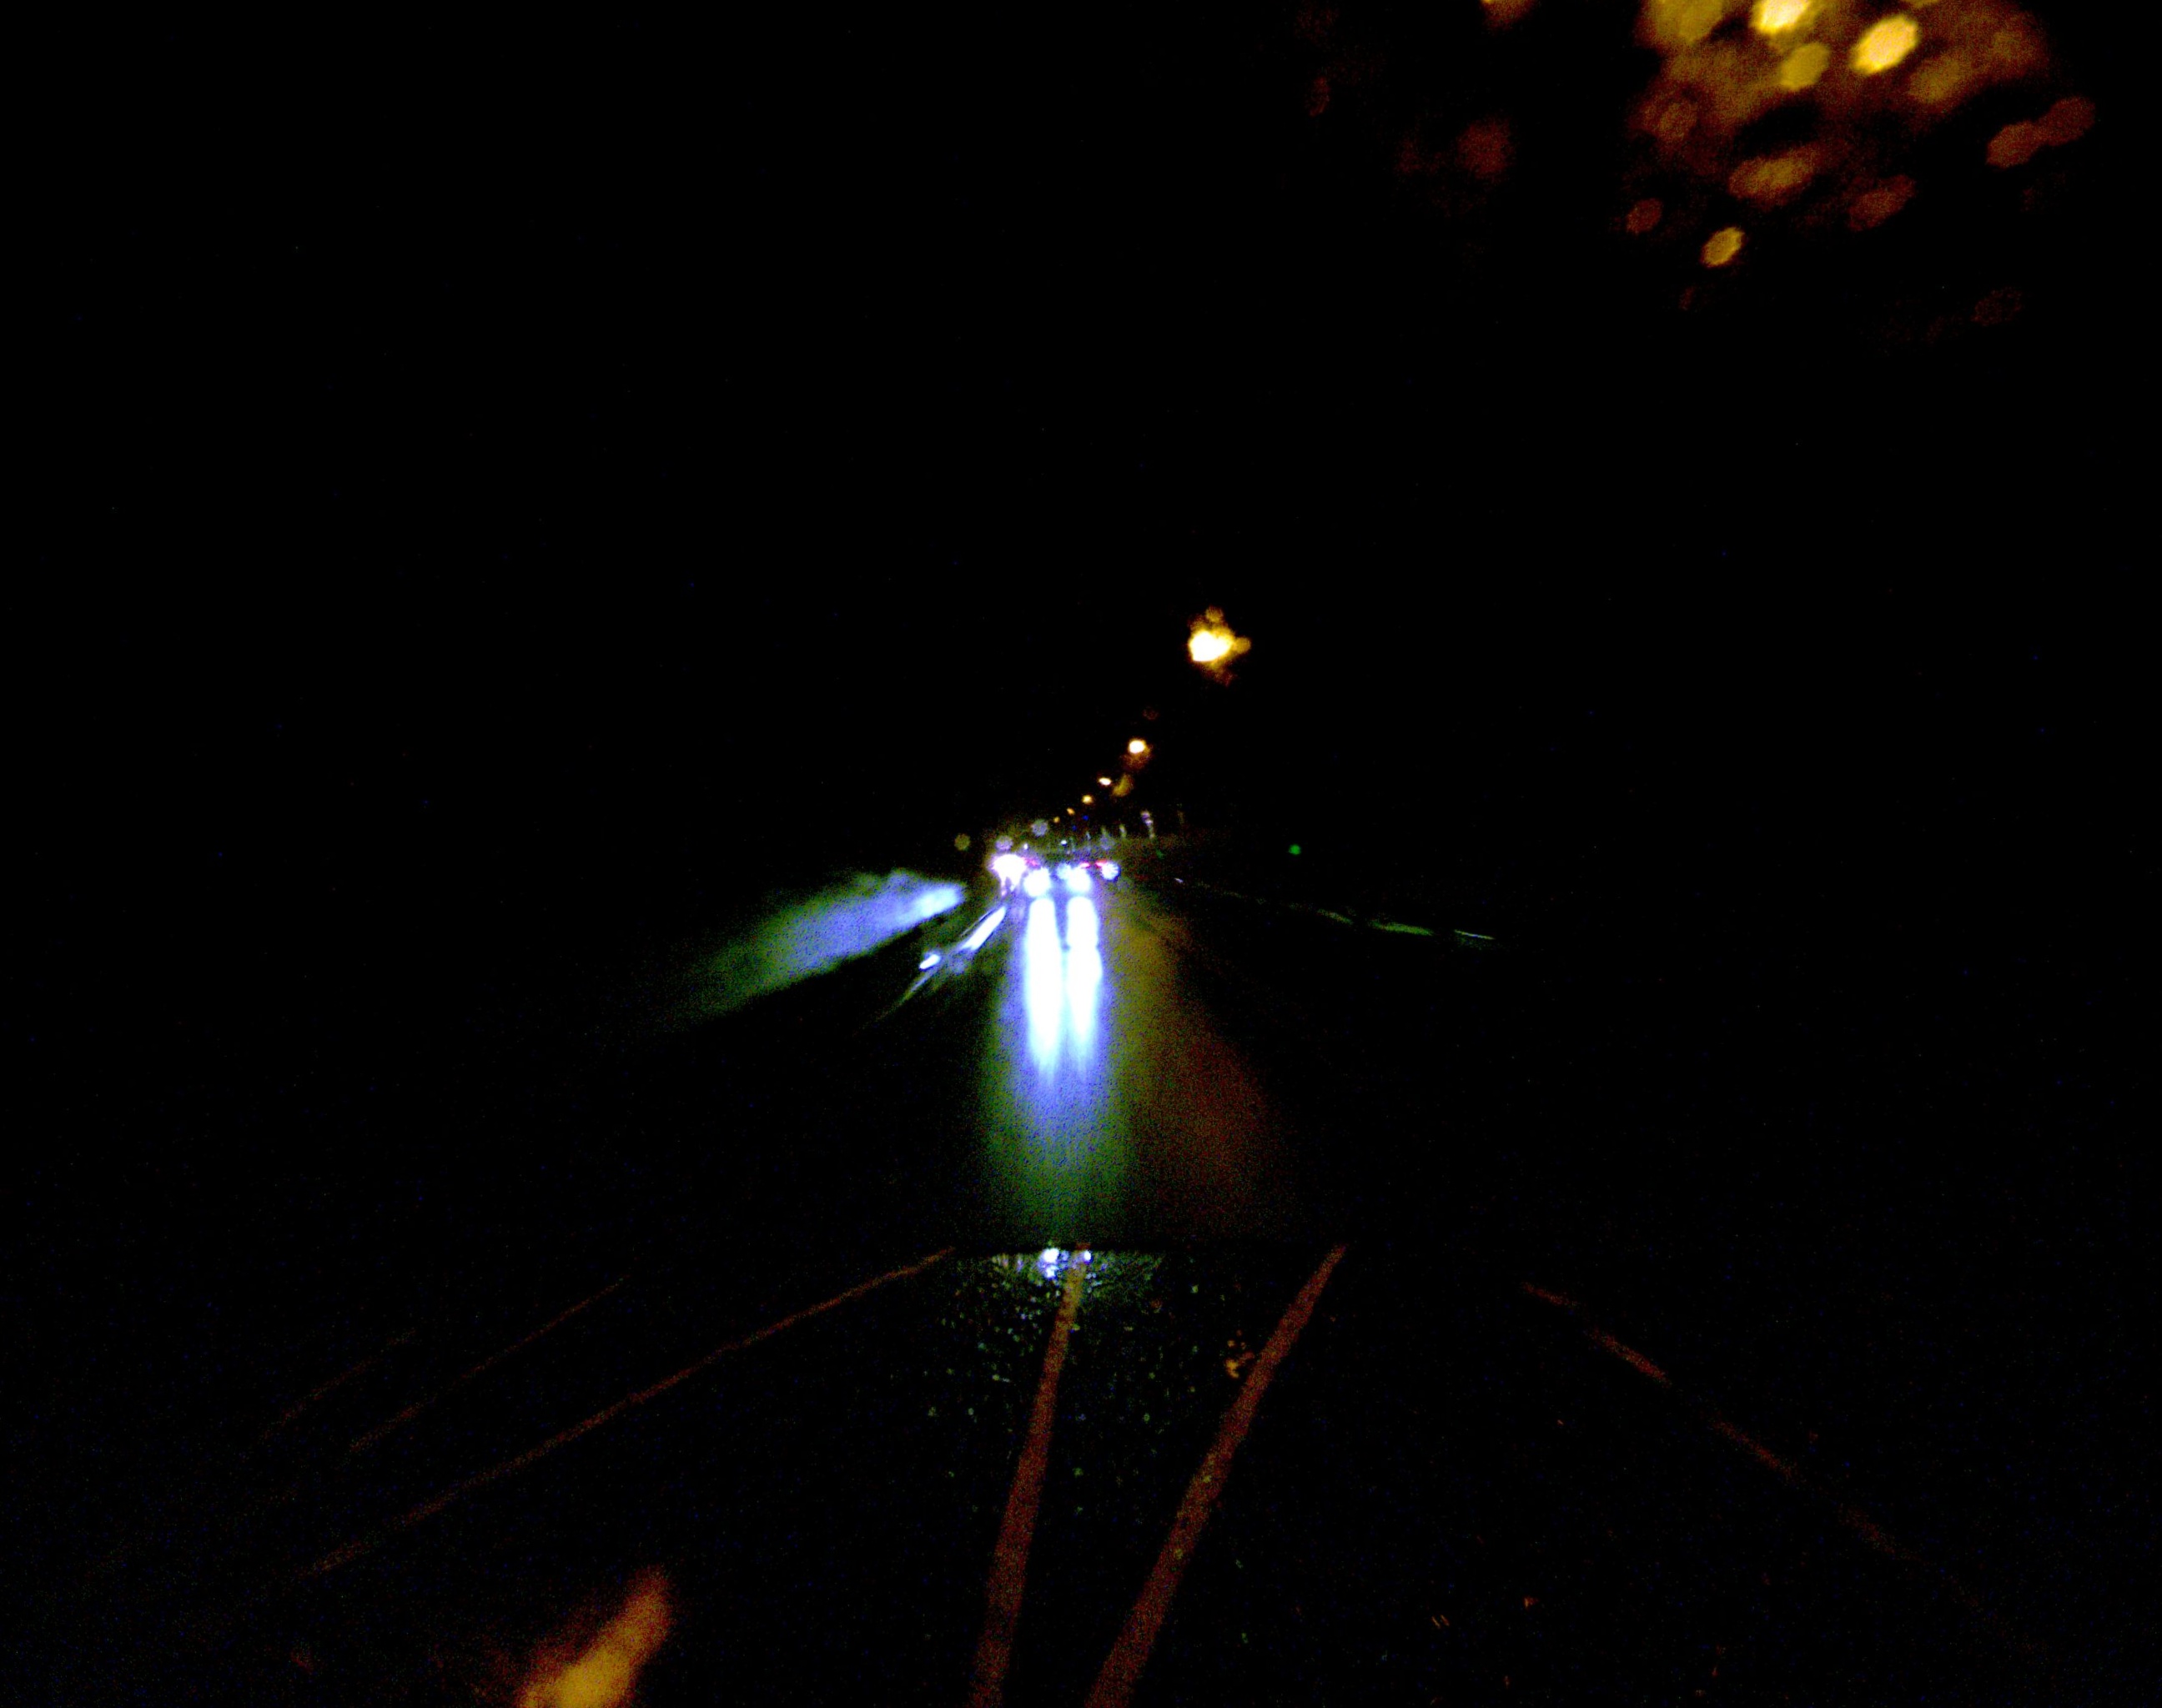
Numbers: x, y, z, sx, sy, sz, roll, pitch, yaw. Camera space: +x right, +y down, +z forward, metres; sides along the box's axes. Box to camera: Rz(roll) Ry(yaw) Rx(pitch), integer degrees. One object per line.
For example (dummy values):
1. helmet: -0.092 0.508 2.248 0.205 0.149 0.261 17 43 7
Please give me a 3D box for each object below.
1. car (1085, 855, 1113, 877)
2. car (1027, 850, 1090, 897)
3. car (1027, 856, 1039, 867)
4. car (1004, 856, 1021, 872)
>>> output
1. car: 1.236 0.827 54.414 1.634 1.389 3.999 -2 0 -3
2. car: -0.983 0.696 30.175 2.000 1.585 4.605 -3 1 -7
3. car: -6.847 1.022 108.088 1.630 1.438 3.934 -3 0 -5
4. car: -8.968 1.237 99.681 1.900 2.002 3.996 -1 0 -9
